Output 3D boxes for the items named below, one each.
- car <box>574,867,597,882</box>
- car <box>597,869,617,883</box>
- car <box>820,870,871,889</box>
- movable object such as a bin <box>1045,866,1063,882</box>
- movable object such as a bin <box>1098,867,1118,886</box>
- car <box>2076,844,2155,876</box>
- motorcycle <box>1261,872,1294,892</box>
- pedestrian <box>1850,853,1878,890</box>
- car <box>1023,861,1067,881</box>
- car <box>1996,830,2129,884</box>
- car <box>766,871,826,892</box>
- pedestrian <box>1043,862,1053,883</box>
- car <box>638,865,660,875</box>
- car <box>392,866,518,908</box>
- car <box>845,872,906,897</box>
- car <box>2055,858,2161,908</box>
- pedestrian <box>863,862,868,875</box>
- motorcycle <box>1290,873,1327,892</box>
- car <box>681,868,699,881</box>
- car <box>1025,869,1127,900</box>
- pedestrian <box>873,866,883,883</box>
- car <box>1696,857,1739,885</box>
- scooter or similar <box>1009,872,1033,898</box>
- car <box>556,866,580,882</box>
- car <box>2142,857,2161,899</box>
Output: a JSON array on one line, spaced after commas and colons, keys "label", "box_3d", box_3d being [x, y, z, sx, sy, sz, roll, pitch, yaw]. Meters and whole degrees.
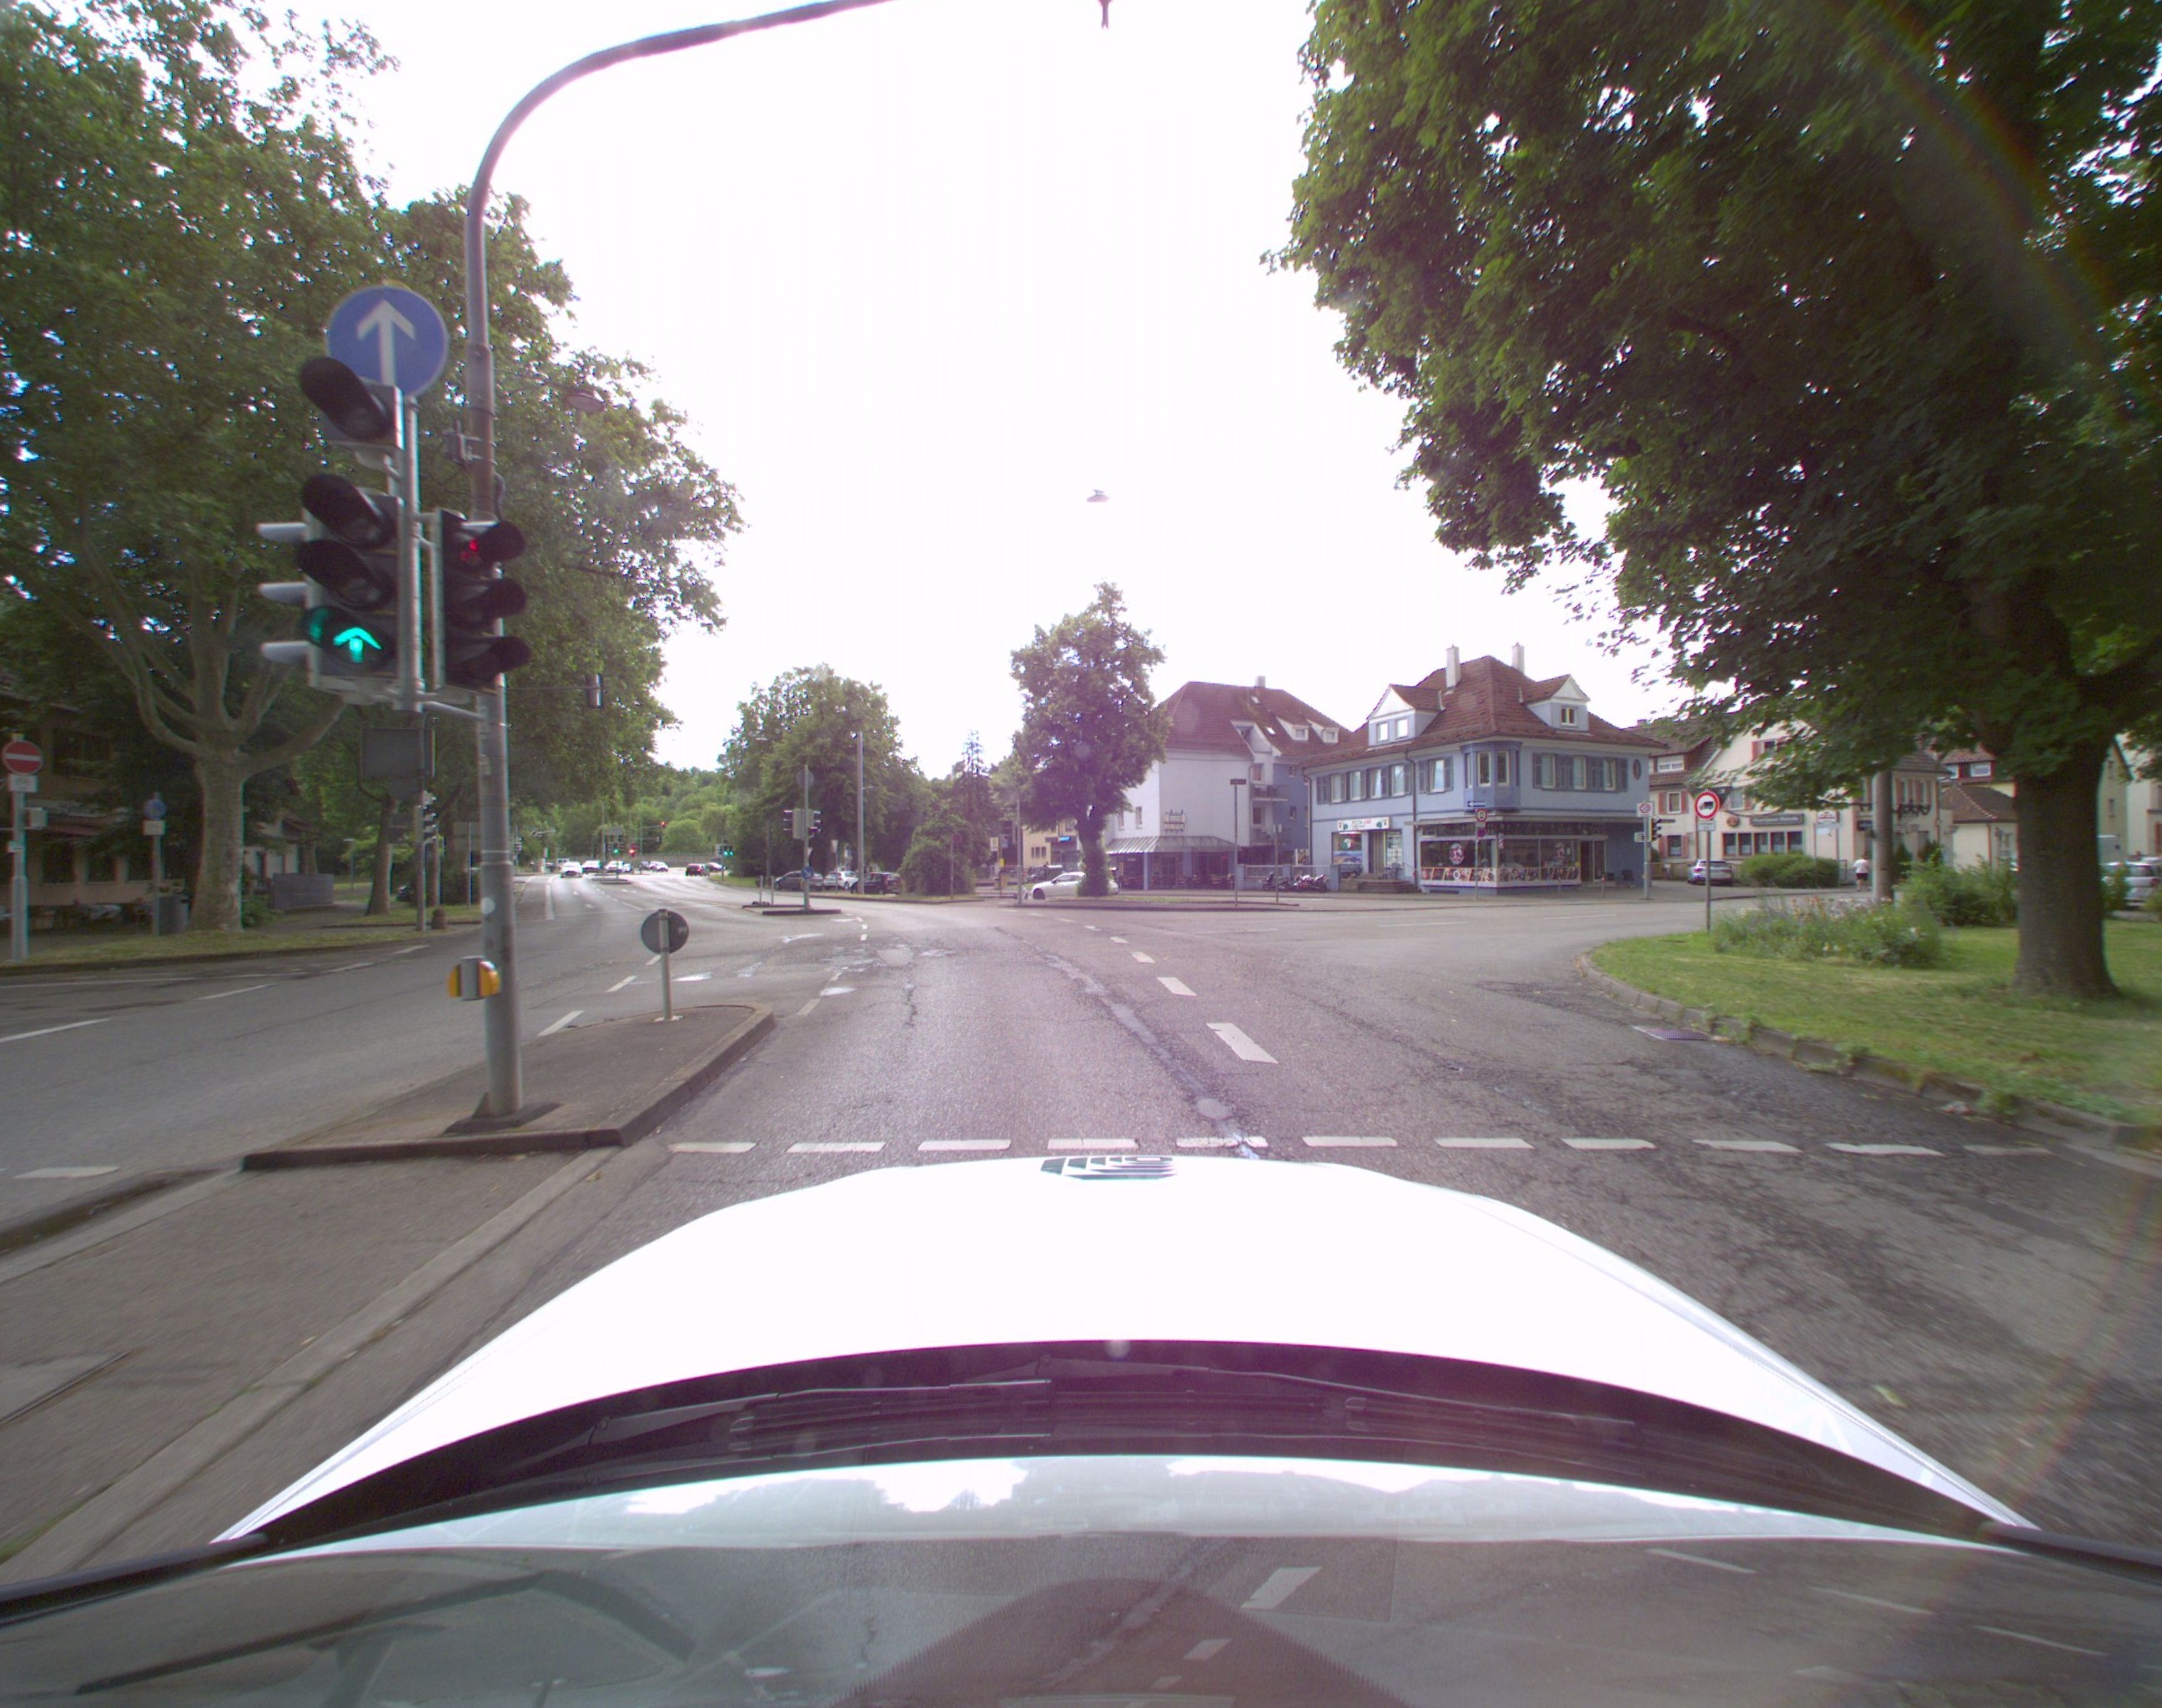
[{"label": "car", "box_3d": [-59.836, 2.440, 98.354, 1.805, 1.586, 4.379, -3, 2, -24]}, {"label": "car", "box_3d": [-63.785, 2.930, 109.652, 1.920, 1.763, 4.714, -1, 0, -25]}, {"label": "car", "box_3d": [-18.018, 1.908, 62.471, 1.746, 1.381, 4.279, 0, -1, 16]}, {"label": "movable object such as a bin", "box_3d": [-2.289, 1.664, 68.363, 1.223, 1.345, 0.986, -1, -1, -28]}, {"label": "movable object such as a bin", "box_3d": [2.164, 1.781, 64.742, 1.217, 1.395, 1.154, -1, -1, -18]}, {"label": "car", "box_3d": [58.696, 0.331, 46.209, 3.786, 1.728, 1.923, -1, -1, -25]}, {"label": "motorcycle", "box_3d": [10.566, 1.489, 43.822, 0.492, 1.031, 1.704, 0, -1, -44]}, {"label": "pedestrian", "box_3d": [36.901, 0.827, 38.387, 0.647, 1.697, 0.751, 0, -1, -26]}, {"label": "car", "box_3d": [-3.137, 1.451, 70.370, 3.426, 1.630, 1.613, -1, -1, -22]}, {"label": "car", "box_3d": [46.560, 0.132, 38.626, 5.963, 2.392, 2.319, -1, -1, -22]}, {"label": "car", "box_3d": [-20.859, 1.981, 59.644, 4.062, 1.429, 1.743, 1, 0, 25]}, {"label": "pedestrian", "box_3d": [-2.807, 1.555, 69.341, 0.691, 1.729, 0.606, -1, -1, -28]}, {"label": "car", "box_3d": [-73.558, 2.731, 138.557, 3.062, 1.239, 1.431, 1, 12, -18]}, {"label": "car", "box_3d": [-35.106, 1.796, 45.794, 2.058, 1.931, 5.275, -2, 1, 44]}, {"label": "car", "box_3d": [-12.298, 1.795, 48.699, 3.449, 1.404, 1.583, 0, 0, 32]}, {"label": "car", "box_3d": [33.593, 0.885, 26.007, 4.550, 1.456, 1.886, -1, -1, -22]}, {"label": "pedestrian", "box_3d": [-24.022, 1.616, 90.813, 0.512, 1.531, 0.773, 0, -1, -19]}, {"label": "motorcycle", "box_3d": [11.703, 1.459, 41.937, 0.525, 0.985, 1.801, 0, -1, -44]}, {"label": "car", "box_3d": [-46.923, 2.435, 97.787, 1.832, 1.509, 4.534, -1, -1, -27]}, {"label": "car", "box_3d": [-0.287, 1.499, 39.964, 4.726, 1.386, 2.013, -2, -1, 38]}, {"label": "pedestrian", "box_3d": [-18.601, 1.895, 74.553, 0.687, 1.551, 0.736, 0, 0, -28]}, {"label": "car", "box_3d": [33.851, 0.890, 43.382, 1.551, 1.462, 3.461, -1, -1, 34]}, {"label": "scooter or similar", "box_3d": [-2.740, 1.435, 37.178, 0.407, 1.167, 1.370, -1, -3, 30]}, {"label": "car", "box_3d": [-50.327, 1.984, 79.988, 1.773, 1.466, 3.983, -2, -1, -30]}, {"label": "car", "box_3d": [39.816, 0.815, 28.819, 3.962, 1.456, 1.788, -1, -1, -23]}]
